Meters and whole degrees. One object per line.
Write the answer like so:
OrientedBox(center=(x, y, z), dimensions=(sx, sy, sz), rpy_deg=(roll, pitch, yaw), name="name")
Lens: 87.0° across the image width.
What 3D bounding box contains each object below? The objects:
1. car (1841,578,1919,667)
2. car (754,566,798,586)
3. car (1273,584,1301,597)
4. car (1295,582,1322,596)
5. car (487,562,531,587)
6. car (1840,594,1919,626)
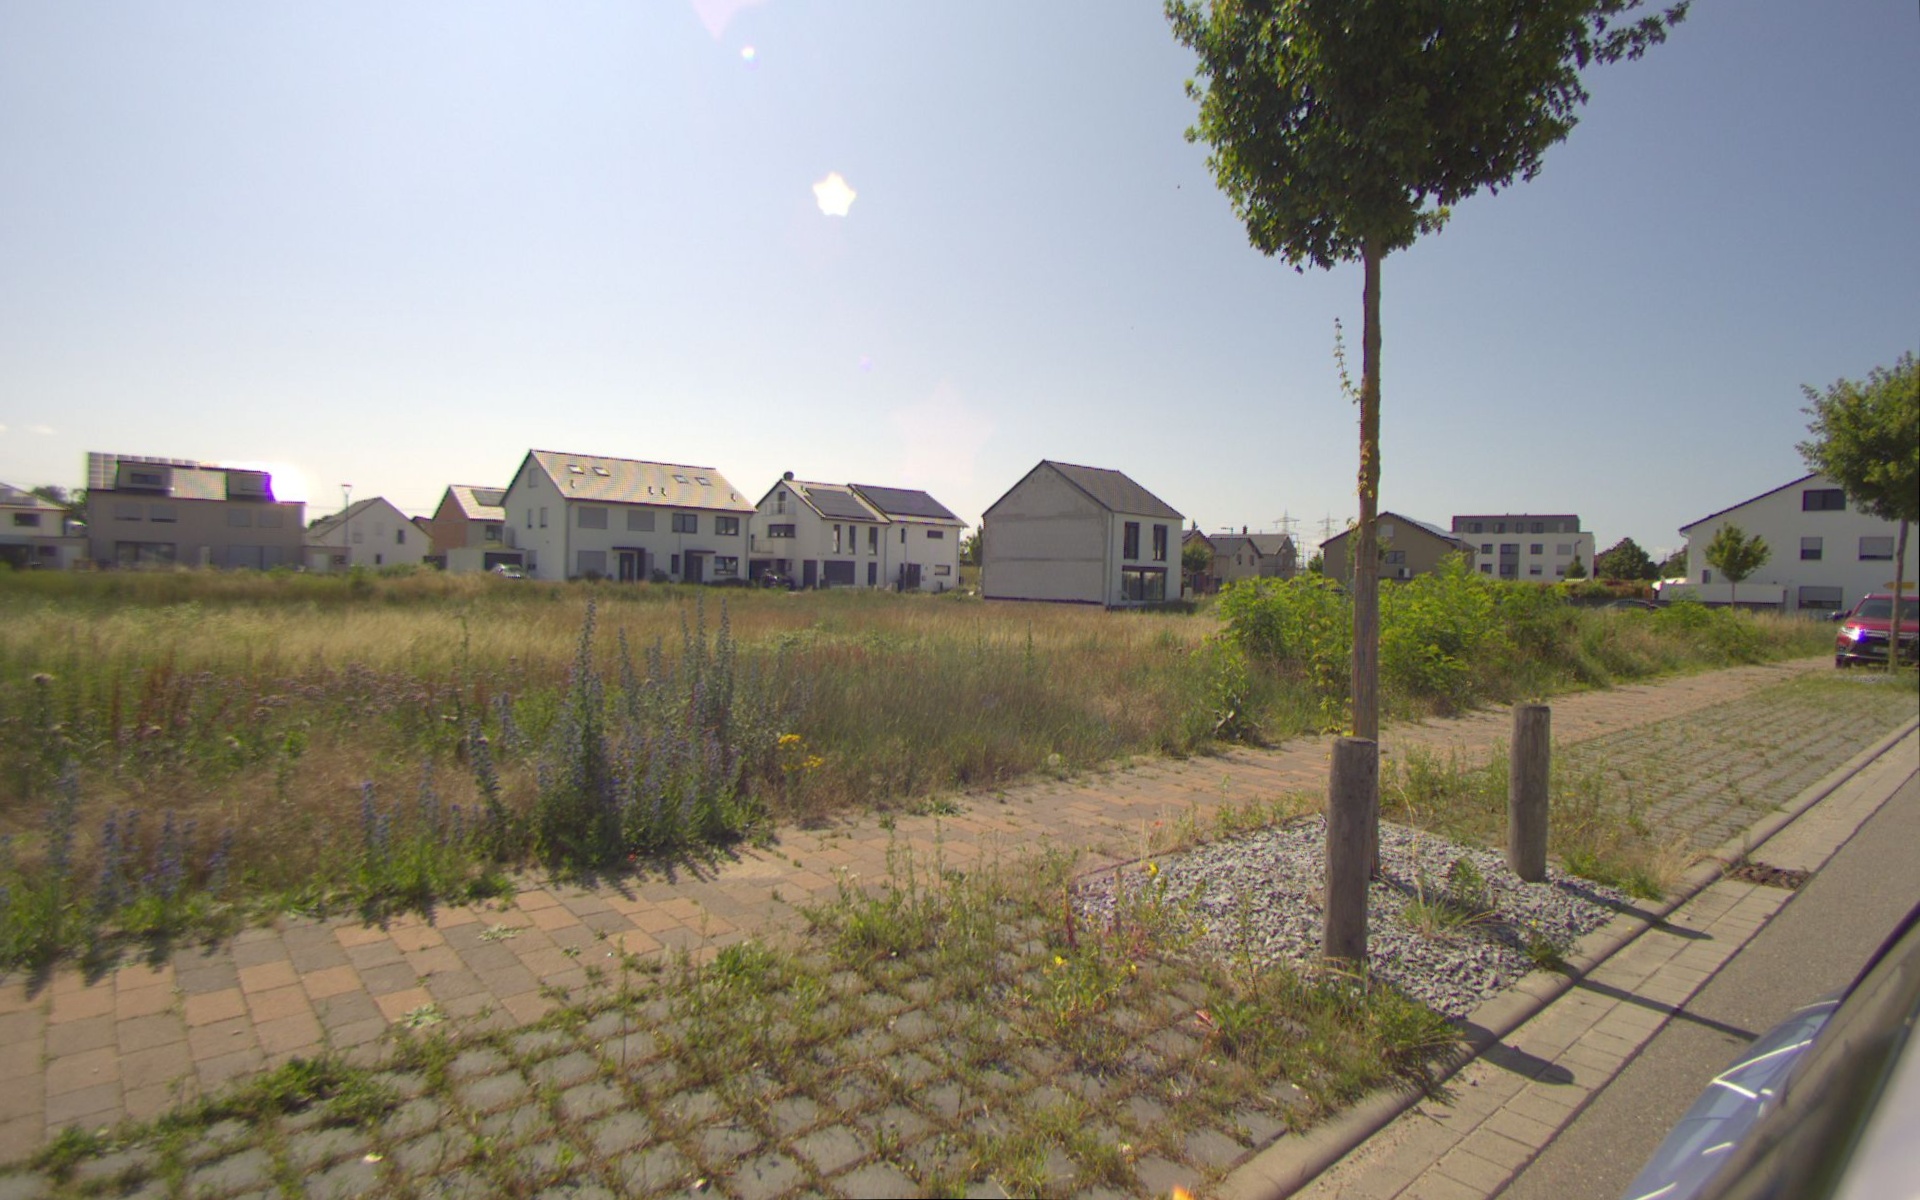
OrientedBox(center=(20.066, 0.475, 21.272), dimensions=(4.357, 1.683, 1.780), rpy_deg=(1, 2, -42), name="car")
OrientedBox(center=(-14.598, -1.937, 80.298), dimensions=(1.782, 1.531, 3.999), rpy_deg=(1, 1, -37), name="car")
OrientedBox(center=(36.625, -1.061, 113.153), dimensions=(1.660, 1.418, 3.864), rpy_deg=(3, 2, 40), name="car")
OrientedBox(center=(40.656, -1.312, 117.993), dimensions=(1.742, 1.521, 3.942), rpy_deg=(3, 2, 40), name="car")
OrientedBox(center=(-30.115, -1.704, 67.487), dimensions=(1.782, 1.593, 3.999), rpy_deg=(1, 1, -37), name="car")
OrientedBox(center=(50.670, 0.558, 54.846), dimensions=(1.927, 1.577, 4.342), rpy_deg=(1, 1, -43), name="car")
